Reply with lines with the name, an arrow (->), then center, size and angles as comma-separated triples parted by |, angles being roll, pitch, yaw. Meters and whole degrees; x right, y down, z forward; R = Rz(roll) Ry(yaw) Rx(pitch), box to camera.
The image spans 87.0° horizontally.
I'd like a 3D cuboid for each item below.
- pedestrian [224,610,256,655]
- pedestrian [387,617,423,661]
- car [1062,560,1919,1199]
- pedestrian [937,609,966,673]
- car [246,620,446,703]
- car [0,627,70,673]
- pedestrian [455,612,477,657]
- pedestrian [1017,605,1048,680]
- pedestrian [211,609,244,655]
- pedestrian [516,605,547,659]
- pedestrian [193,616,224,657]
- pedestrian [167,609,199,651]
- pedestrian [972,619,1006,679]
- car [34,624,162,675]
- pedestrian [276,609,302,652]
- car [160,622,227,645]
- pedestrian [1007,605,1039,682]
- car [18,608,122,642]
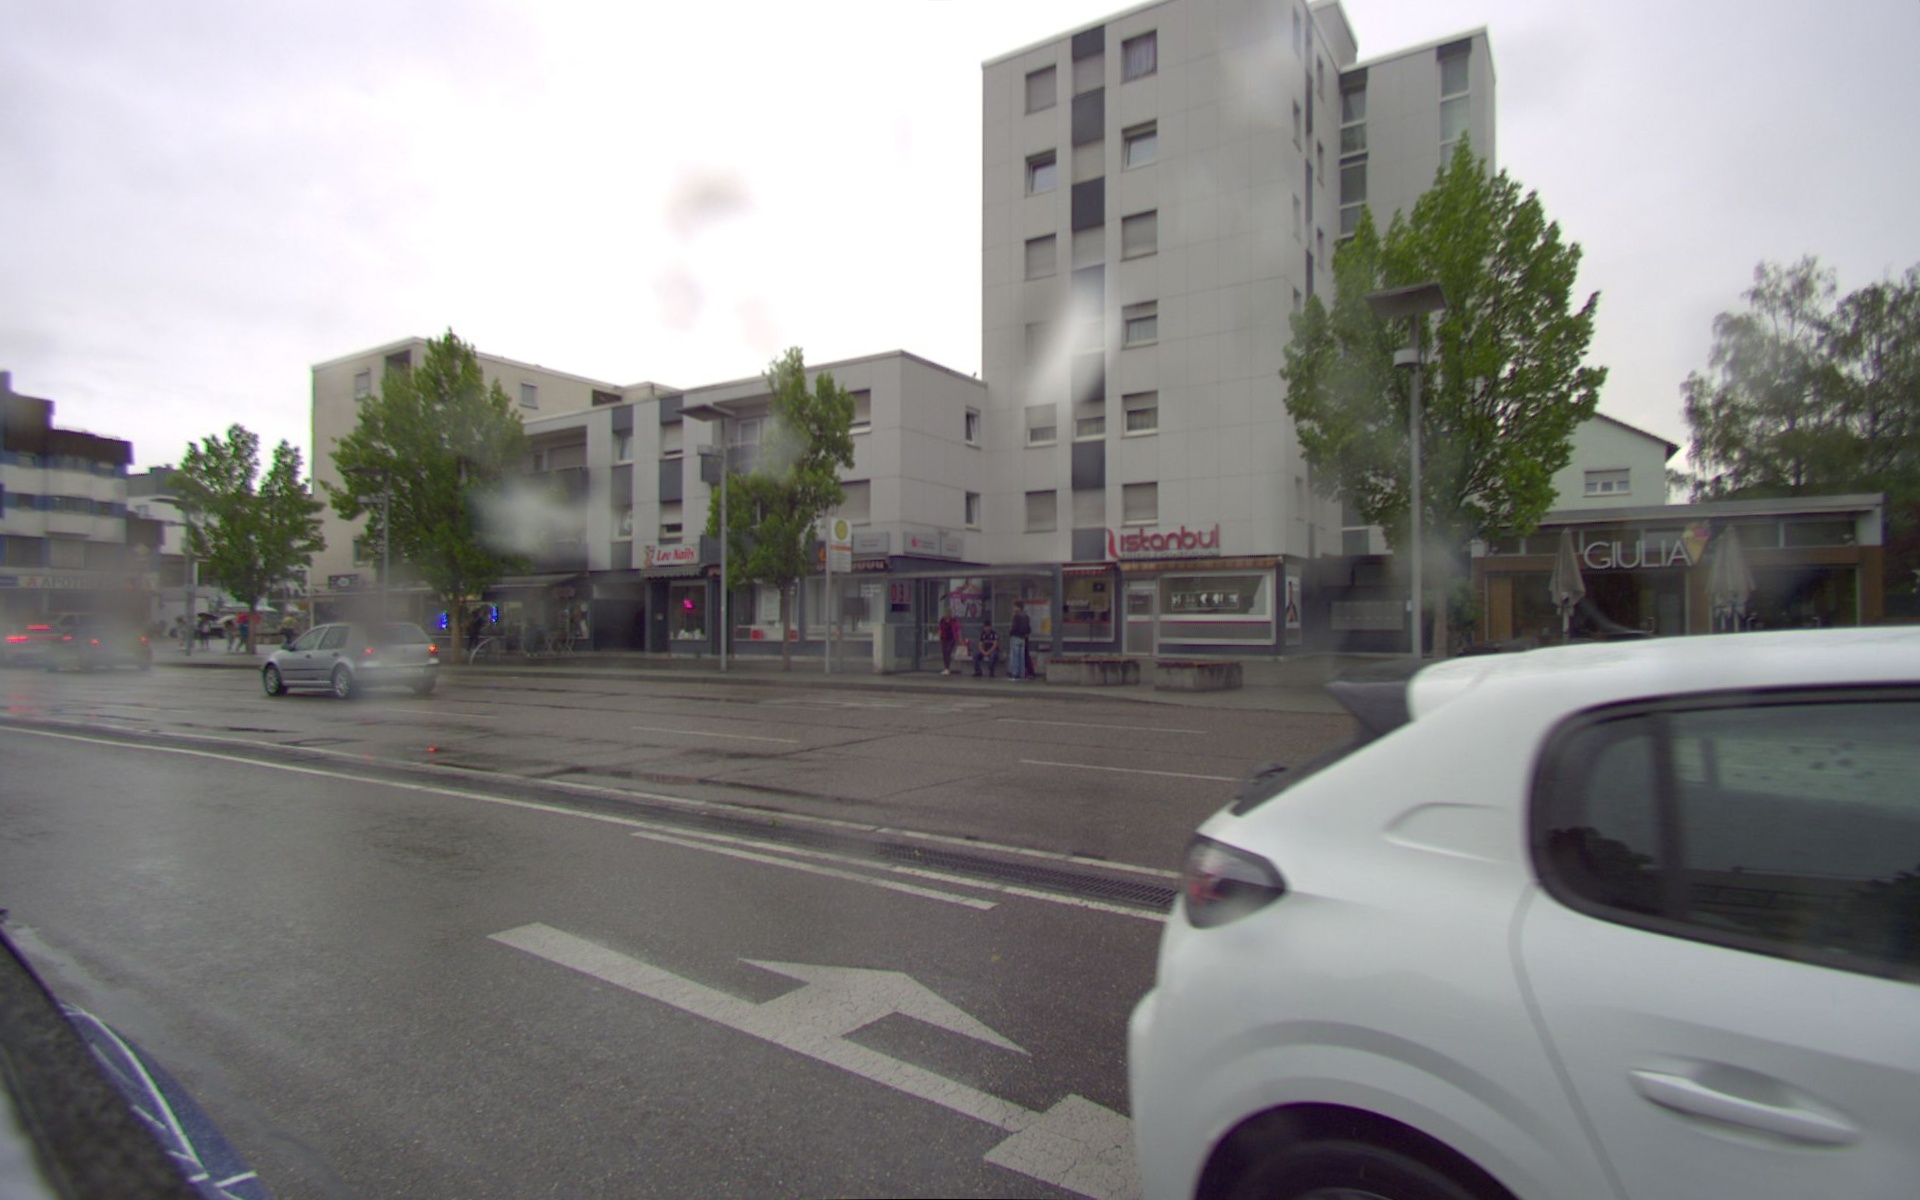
pedestrian -> -32.702, 1.461, 45.983 | 0.974, 2.029, 0.896 | -2, -2, 32
pedestrian -> -21.213, 1.478, 38.682 | 0.724, 1.658, 0.999 | -1, -1, 32
car -> 2.283, 0.677, 1.440 | 3.868, 1.473, 1.854 | -1, -1, 38
pedestrian -> -0.195, 0.974, 24.274 | 0.608, 1.516, 0.535 | -1, -1, 10
car -> -12.037, 1.158, 19.797 | 4.090, 1.477, 1.686 | -1, -2, 32
car -> -31.929, 1.664, 34.464 | 4.884, 1.438, 1.739 | -1, -1, 40
pedestrian -> -19.979, 1.392, 40.923 | 0.679, 1.763, 0.543 | -2, -2, 34
pedestrian -> 1.643, 0.960, 22.895 | 0.479, 1.672, 0.530 | -2, -2, 39
pedestrian -> -32.763, 1.446, 45.290 | 0.974, 2.029, 0.896 | -2, -2, 32
pedestrian -> -16.314, 1.203, 38.526 | 0.862, 2.029, 0.752 | -2, -2, 35
pedestrian -> -36.305, 1.769, 48.904 | 0.974, 1.929, 0.896 | -2, -2, 32
pedestrian -> -36.843, 1.423, 47.997 | 0.973, 1.929, 0.897 | -2, -2, 28
pedestrian -> 0.684, 1.134, 23.626 | 0.578, 1.363, 0.530 | -2, -2, 39
car -> -26.068, 1.492, 30.585 | 3.984, 1.438, 1.745 | -2, -2, 30
pedestrian -> -31.682, 1.450, 47.782 | 0.861, 2.029, 0.753 | -2, -2, 31
car -> -58.926, 2.542, 77.853 | 1.731, 1.733, 3.877 | -1, -1, 14
pedestrian -> 1.385, 0.945, 22.267 | 0.535, 1.672, 0.474 | -1, -2, 34
car -> -55.735, 1.574, 63.480 | 1.983, 2.029, 4.571 | -1, -1, 17
